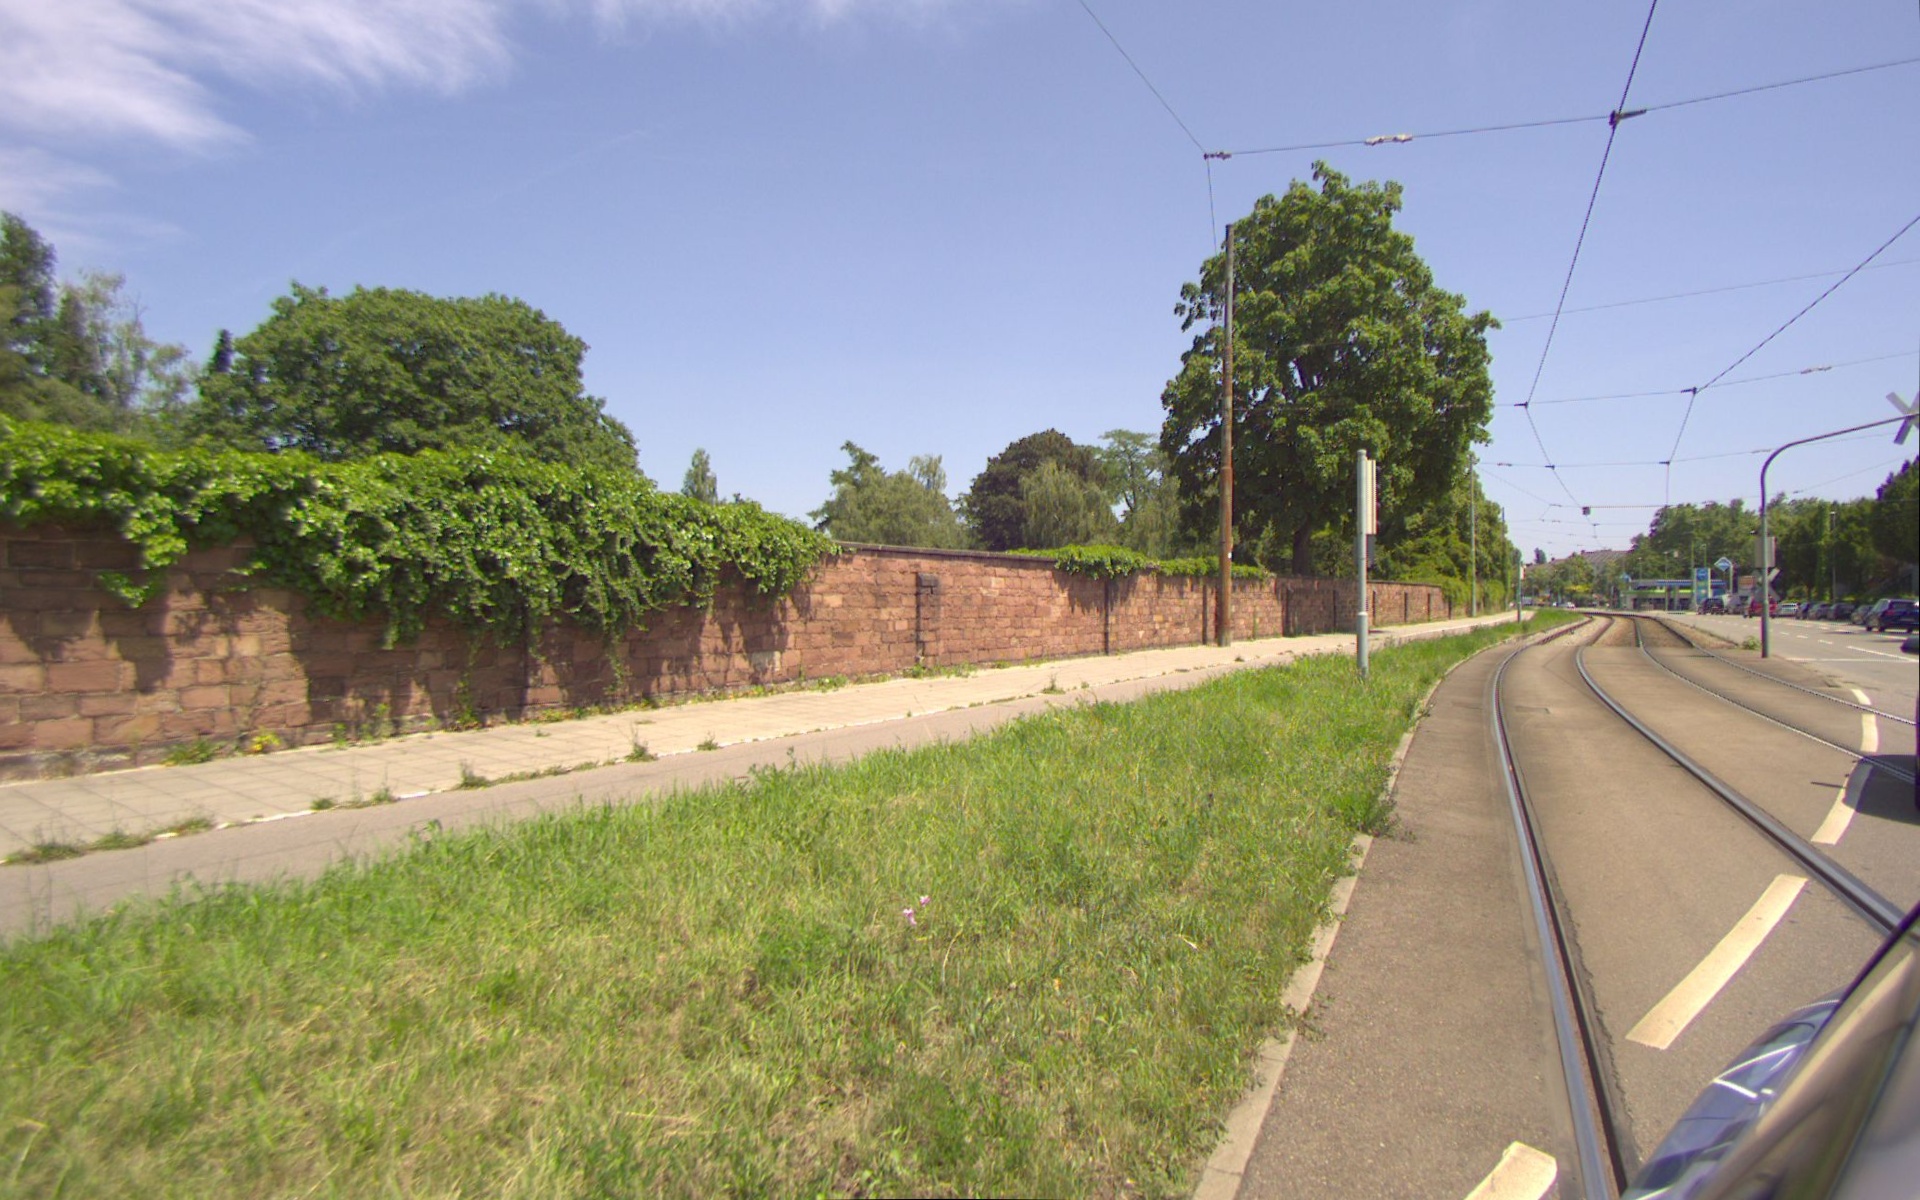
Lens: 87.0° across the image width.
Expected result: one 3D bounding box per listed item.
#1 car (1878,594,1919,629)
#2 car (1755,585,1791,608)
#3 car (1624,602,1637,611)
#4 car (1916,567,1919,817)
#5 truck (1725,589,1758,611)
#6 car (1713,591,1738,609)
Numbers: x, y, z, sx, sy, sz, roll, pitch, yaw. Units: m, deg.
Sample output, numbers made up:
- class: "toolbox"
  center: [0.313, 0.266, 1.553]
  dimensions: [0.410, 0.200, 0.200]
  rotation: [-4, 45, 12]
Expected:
- class: "car"
  center: [46.611, 0.545, 49.625]
  dimensions: [1.731, 1.677, 4.017]
  rotation: [1, 1, 34]
- class: "car"
  center: [72.929, -0.288, 90.866]
  dimensions: [1.891, 1.950, 4.764]
  rotation: [2, 1, 32]
- class: "car"
  center: [130.512, 1.276, 196.968]
  dimensions: [1.852, 1.515, 3.430]
  rotation: [-4, -2, 32]
- class: "car"
  center: [8.390, 0.595, 7.200]
  dimensions: [4.347, 1.603, 1.758]
  rotation: [0, 1, -39]
- class: "truck"
  center: [99.239, 0.031, 128.564]
  dimensions: [2.113, 2.614, 4.821]
  rotation: [-4, -2, 25]
- class: "car"
  center: [85.624, -0.025, 113.284]
  dimensions: [1.911, 1.934, 4.516]
  rotation: [1, 1, 33]
